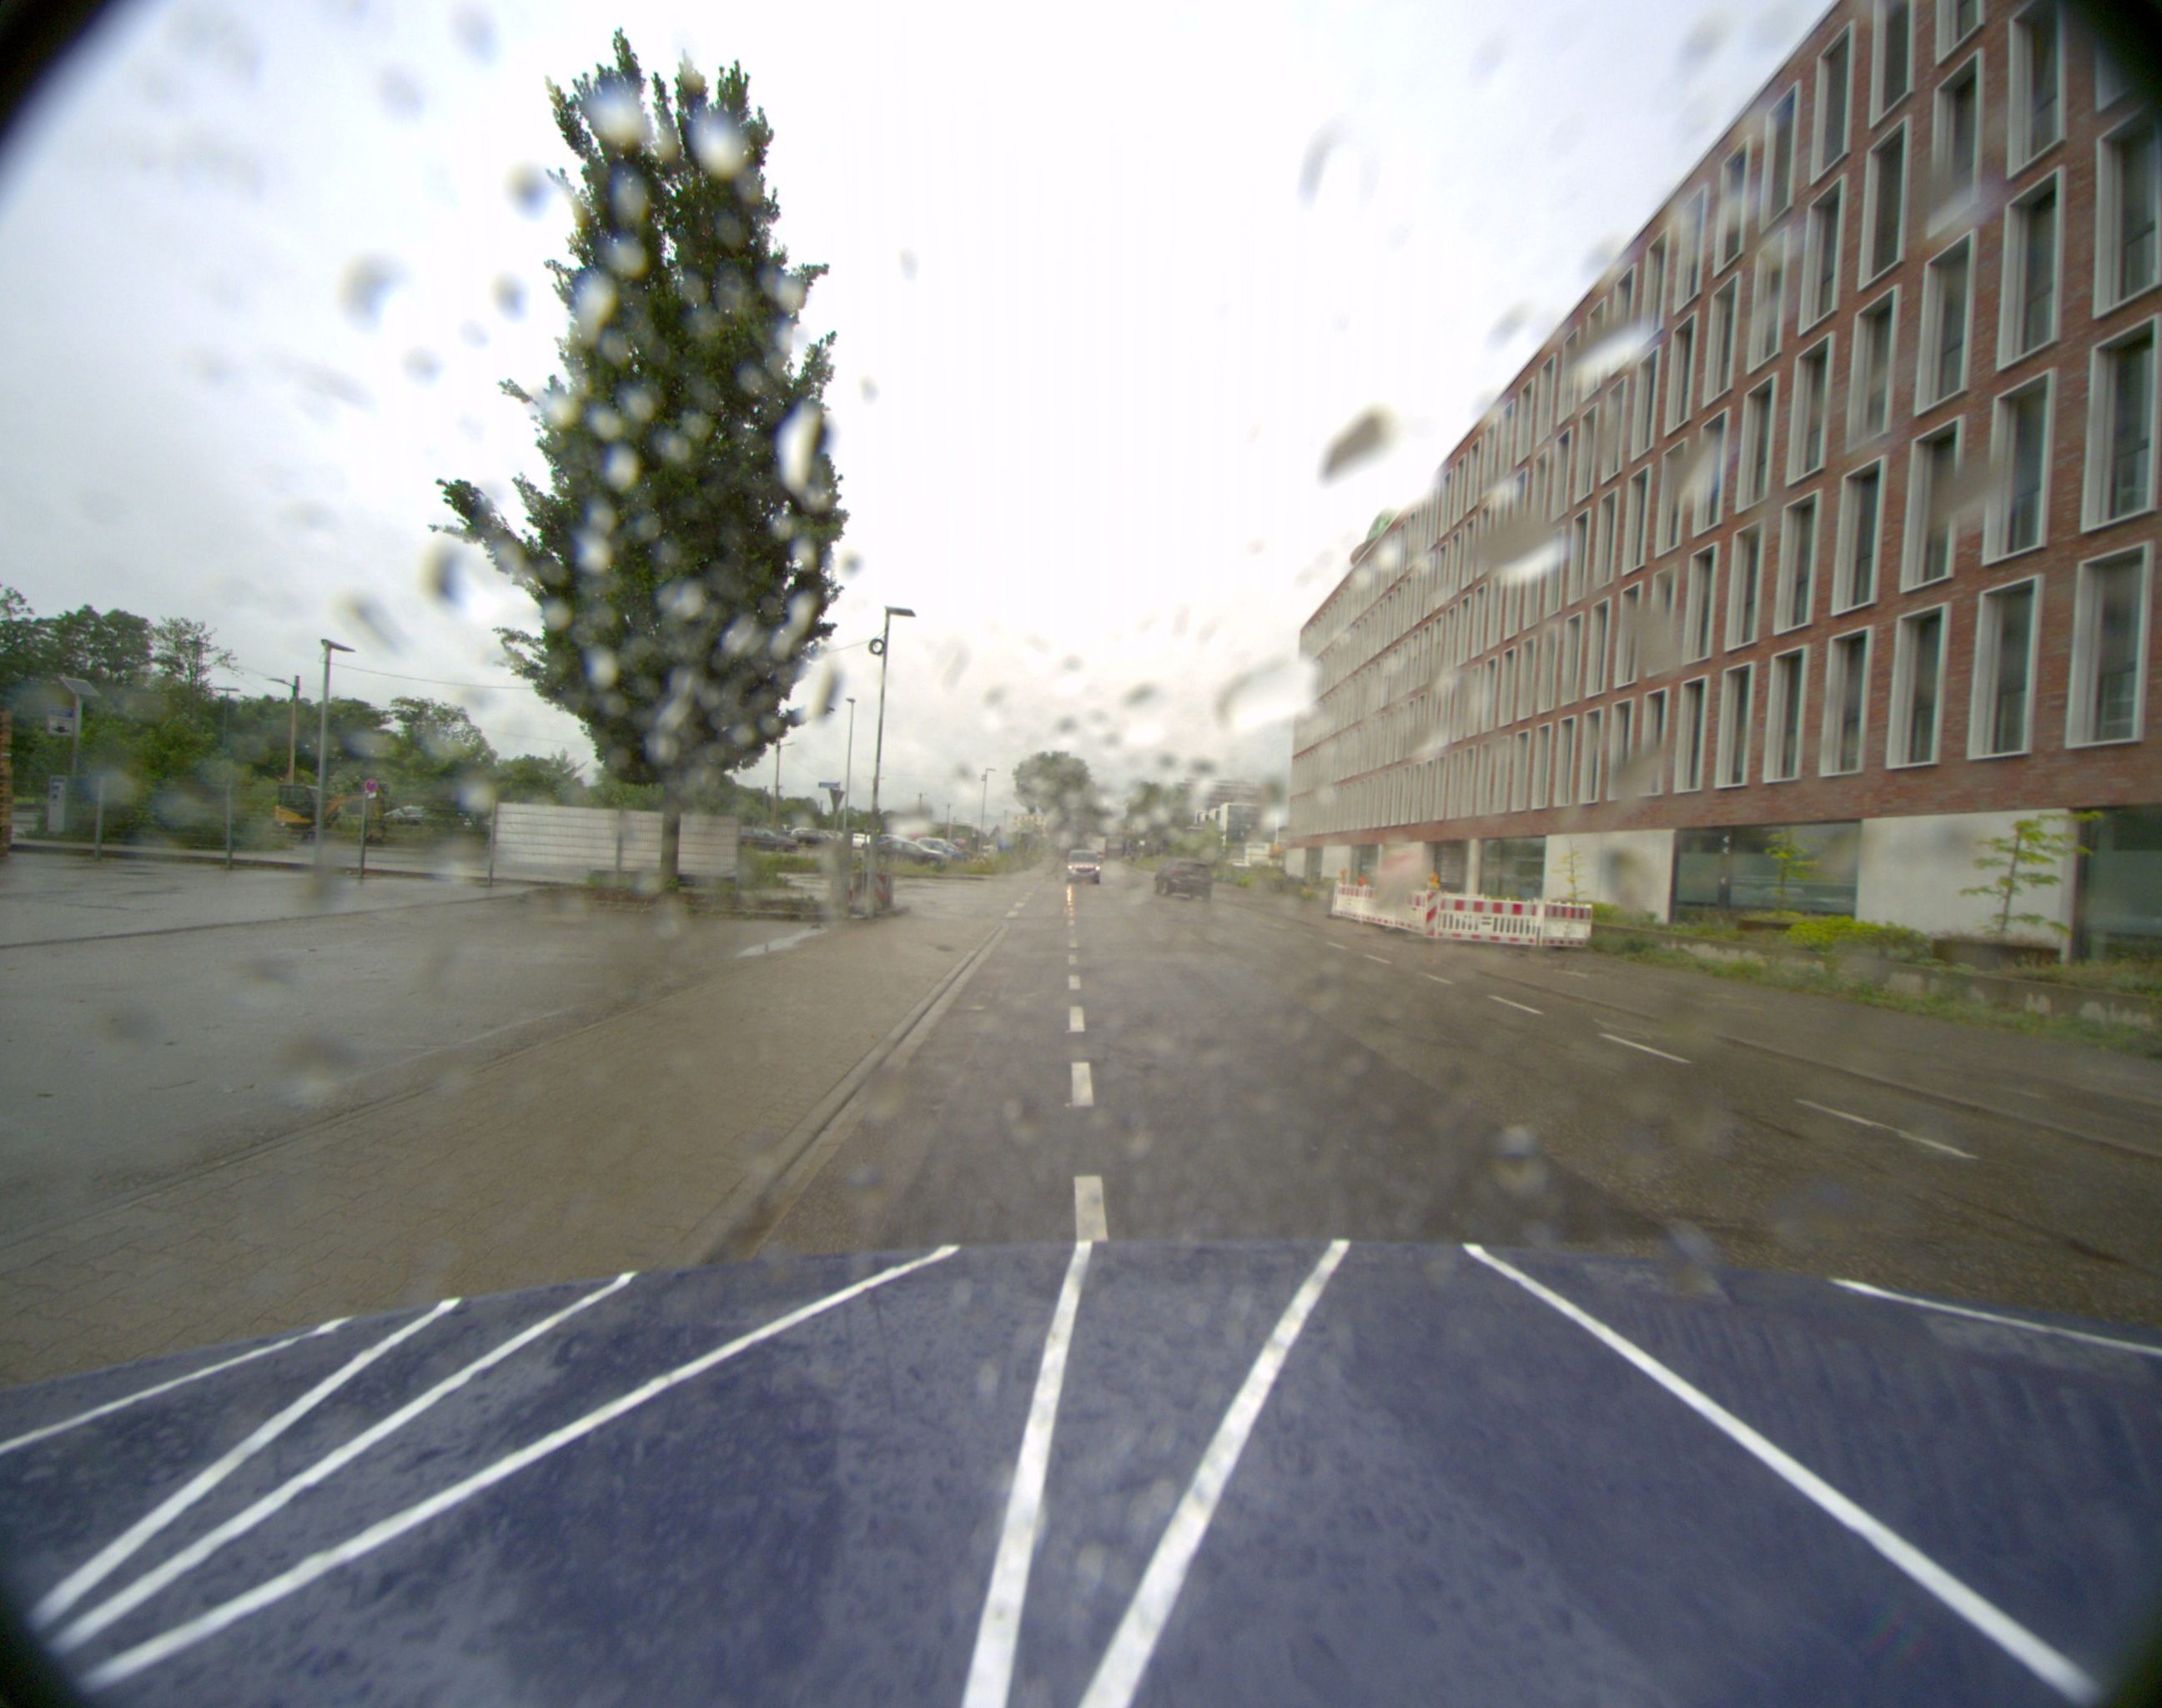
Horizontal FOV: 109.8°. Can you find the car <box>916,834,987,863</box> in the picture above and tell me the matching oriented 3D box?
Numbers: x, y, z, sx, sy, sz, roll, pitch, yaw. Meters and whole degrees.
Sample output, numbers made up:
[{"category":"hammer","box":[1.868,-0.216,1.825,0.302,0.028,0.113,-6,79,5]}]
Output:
[{"category":"car","box":[-9.484,-0.413,55.847,4.691,1.725,2.128,5,2,4]}]

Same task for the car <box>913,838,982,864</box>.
[{"category":"car","box":[-9.129,-0.223,52.120,4.306,1.508,1.819,3,2,0]}]

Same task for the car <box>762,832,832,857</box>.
[{"category":"car","box":[-19.291,-0.666,51.710,3.997,1.477,1.999,3,2,0]}]

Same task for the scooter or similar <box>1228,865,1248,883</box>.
[{"category":"scooter or similar","box":[11.746,1.492,56.737,1.321,1.171,0.467,5,1,-12]}]

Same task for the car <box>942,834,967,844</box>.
[{"category":"car","box":[-21.879,-2.581,131.416,3.961,1.419,1.886,6,2,1]}]

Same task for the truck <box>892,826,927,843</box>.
[{"category":"truck","box":[-28.431,-3.210,126.091,5.302,2.354,2.152,5,1,-1]}]

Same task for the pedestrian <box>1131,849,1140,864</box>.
[{"category":"pedestrian","box":[6.814,0.299,94.616,0.911,1.708,1.026,4,2,0]}]

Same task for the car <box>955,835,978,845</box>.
[{"category":"car","box":[-21.519,-2.684,142.624,3.961,1.528,1.806,6,2,1]}]

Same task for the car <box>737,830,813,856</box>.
[{"category":"car","box":[-19.449,-0.691,48.431,3.997,1.401,1.999,3,2,0]}]

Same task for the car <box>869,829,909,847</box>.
[{"category":"car","box":[-21.540,-1.751,85.221,3.912,1.575,1.786,6,2,2]}]

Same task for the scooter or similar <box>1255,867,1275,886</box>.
[{"category":"scooter or similar","box":[12.894,1.587,53.201,1.228,1.201,0.418,5,1,7]}]

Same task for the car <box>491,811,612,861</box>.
[{"category":"car","box":[-23.592,-0.785,33.939,3.998,1.911,1.831,4,0,-2]}]

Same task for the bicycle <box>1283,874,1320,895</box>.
[{"category":"bicycle","box":[12.510,1.728,43.122,1.864,1.071,0.544,2,1,-2]}]

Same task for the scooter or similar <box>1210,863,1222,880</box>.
[{"category":"scooter or similar","box":[10.479,1.327,58.974,0.467,1.223,1.320,5,1,-3]}]

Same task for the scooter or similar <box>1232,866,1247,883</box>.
[{"category":"scooter or similar","box":[11.463,1.496,54.899,0.466,1.201,1.211,6,1,42]}]

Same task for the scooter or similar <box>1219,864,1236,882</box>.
[{"category":"scooter or similar","box":[11.104,1.423,57.675,0.468,1.223,1.317,4,1,-29]}]

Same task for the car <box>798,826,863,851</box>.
[{"category":"car","box":[-20.537,-1.297,62.440,4.634,1.706,2.017,3,2,-6]}]

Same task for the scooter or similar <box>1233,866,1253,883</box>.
[{"category":"scooter or similar","box":[12.367,1.575,58.051,1.319,1.171,0.467,5,1,5]}]

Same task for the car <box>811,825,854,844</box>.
[{"category":"car","box":[-27.699,-2.191,84.654,4.071,1.650,1.831,6,2,-2]}]

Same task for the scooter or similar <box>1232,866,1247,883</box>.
[{"category":"scooter or similar","box":[11.622,1.498,55.696,0.466,1.223,1.211,6,1,42]}]

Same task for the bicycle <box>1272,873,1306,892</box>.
[{"category":"bicycle","box":[12.438,1.692,45.406,1.864,1.071,0.544,2,1,-2]}]

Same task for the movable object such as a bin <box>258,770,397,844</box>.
[{"category":"movable object such as a bin","box":[-33.503,-2.041,33.870,3.997,2.975,1.999,4,1,-1]}]

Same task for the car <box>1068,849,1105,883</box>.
[{"category":"car","box":[0.277,0.633,42.531,1.838,1.714,4.172,4,0,-1]}]

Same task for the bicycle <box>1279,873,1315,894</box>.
[{"category":"bicycle","box":[12.486,1.702,43.934,1.864,1.071,0.544,2,1,-2]}]

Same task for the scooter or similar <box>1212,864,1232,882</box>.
[{"category":"scooter or similar","box":[10.448,1.399,56.389,1.317,1.223,0.468,5,1,28]}]

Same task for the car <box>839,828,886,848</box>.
[{"category":"car","box":[-21.367,-1.566,74.307,3.838,1.476,1.927,6,2,2]}]

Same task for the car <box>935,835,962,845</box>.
[{"category":"car","box":[-21.922,-2.329,125.934,3.961,1.419,1.886,6,2,1]}]

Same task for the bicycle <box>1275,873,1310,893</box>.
[{"category":"bicycle","box":[12.452,1.694,44.773,1.864,1.071,0.544,2,1,-2]}]

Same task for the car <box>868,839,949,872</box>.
[{"category":"car","box":[-9.759,0.073,43.184,4.232,1.392,1.888,6,2,-9]}]

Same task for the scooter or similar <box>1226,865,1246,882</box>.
[{"category":"scooter or similar","box":[11.959,1.511,58.617,1.319,1.171,0.467,5,1,5]}]

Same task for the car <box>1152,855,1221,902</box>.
[{"category":"car","box":[4.254,0.952,31.298,1.765,1.559,4.147,6,0,-5]}]

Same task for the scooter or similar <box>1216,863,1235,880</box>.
[{"category":"scooter or similar","box":[11.336,1.381,59.630,1.316,1.223,0.509,5,1,38]}]

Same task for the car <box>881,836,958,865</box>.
[{"category":"car","box":[-9.753,-0.223,46.146,4.192,1.501,1.890,3,2,0]}]

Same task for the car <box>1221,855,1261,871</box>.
[{"category":"car","box":[20.366,1.131,96.727,4.534,1.632,1.999,4,1,-3]}]

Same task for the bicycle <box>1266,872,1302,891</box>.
[{"category":"bicycle","box":[12.355,1.676,46.213,1.953,1.071,0.620,2,1,-2]}]

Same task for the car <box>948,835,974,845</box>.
[{"category":"car","box":[-21.620,-2.584,136.988,4.075,1.482,1.925,5,2,1]}]

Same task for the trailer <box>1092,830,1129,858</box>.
[{"category":"trailer","box":[5.561,-1.732,139.939,3.297,4.627,13.750,5,1,15]}]
